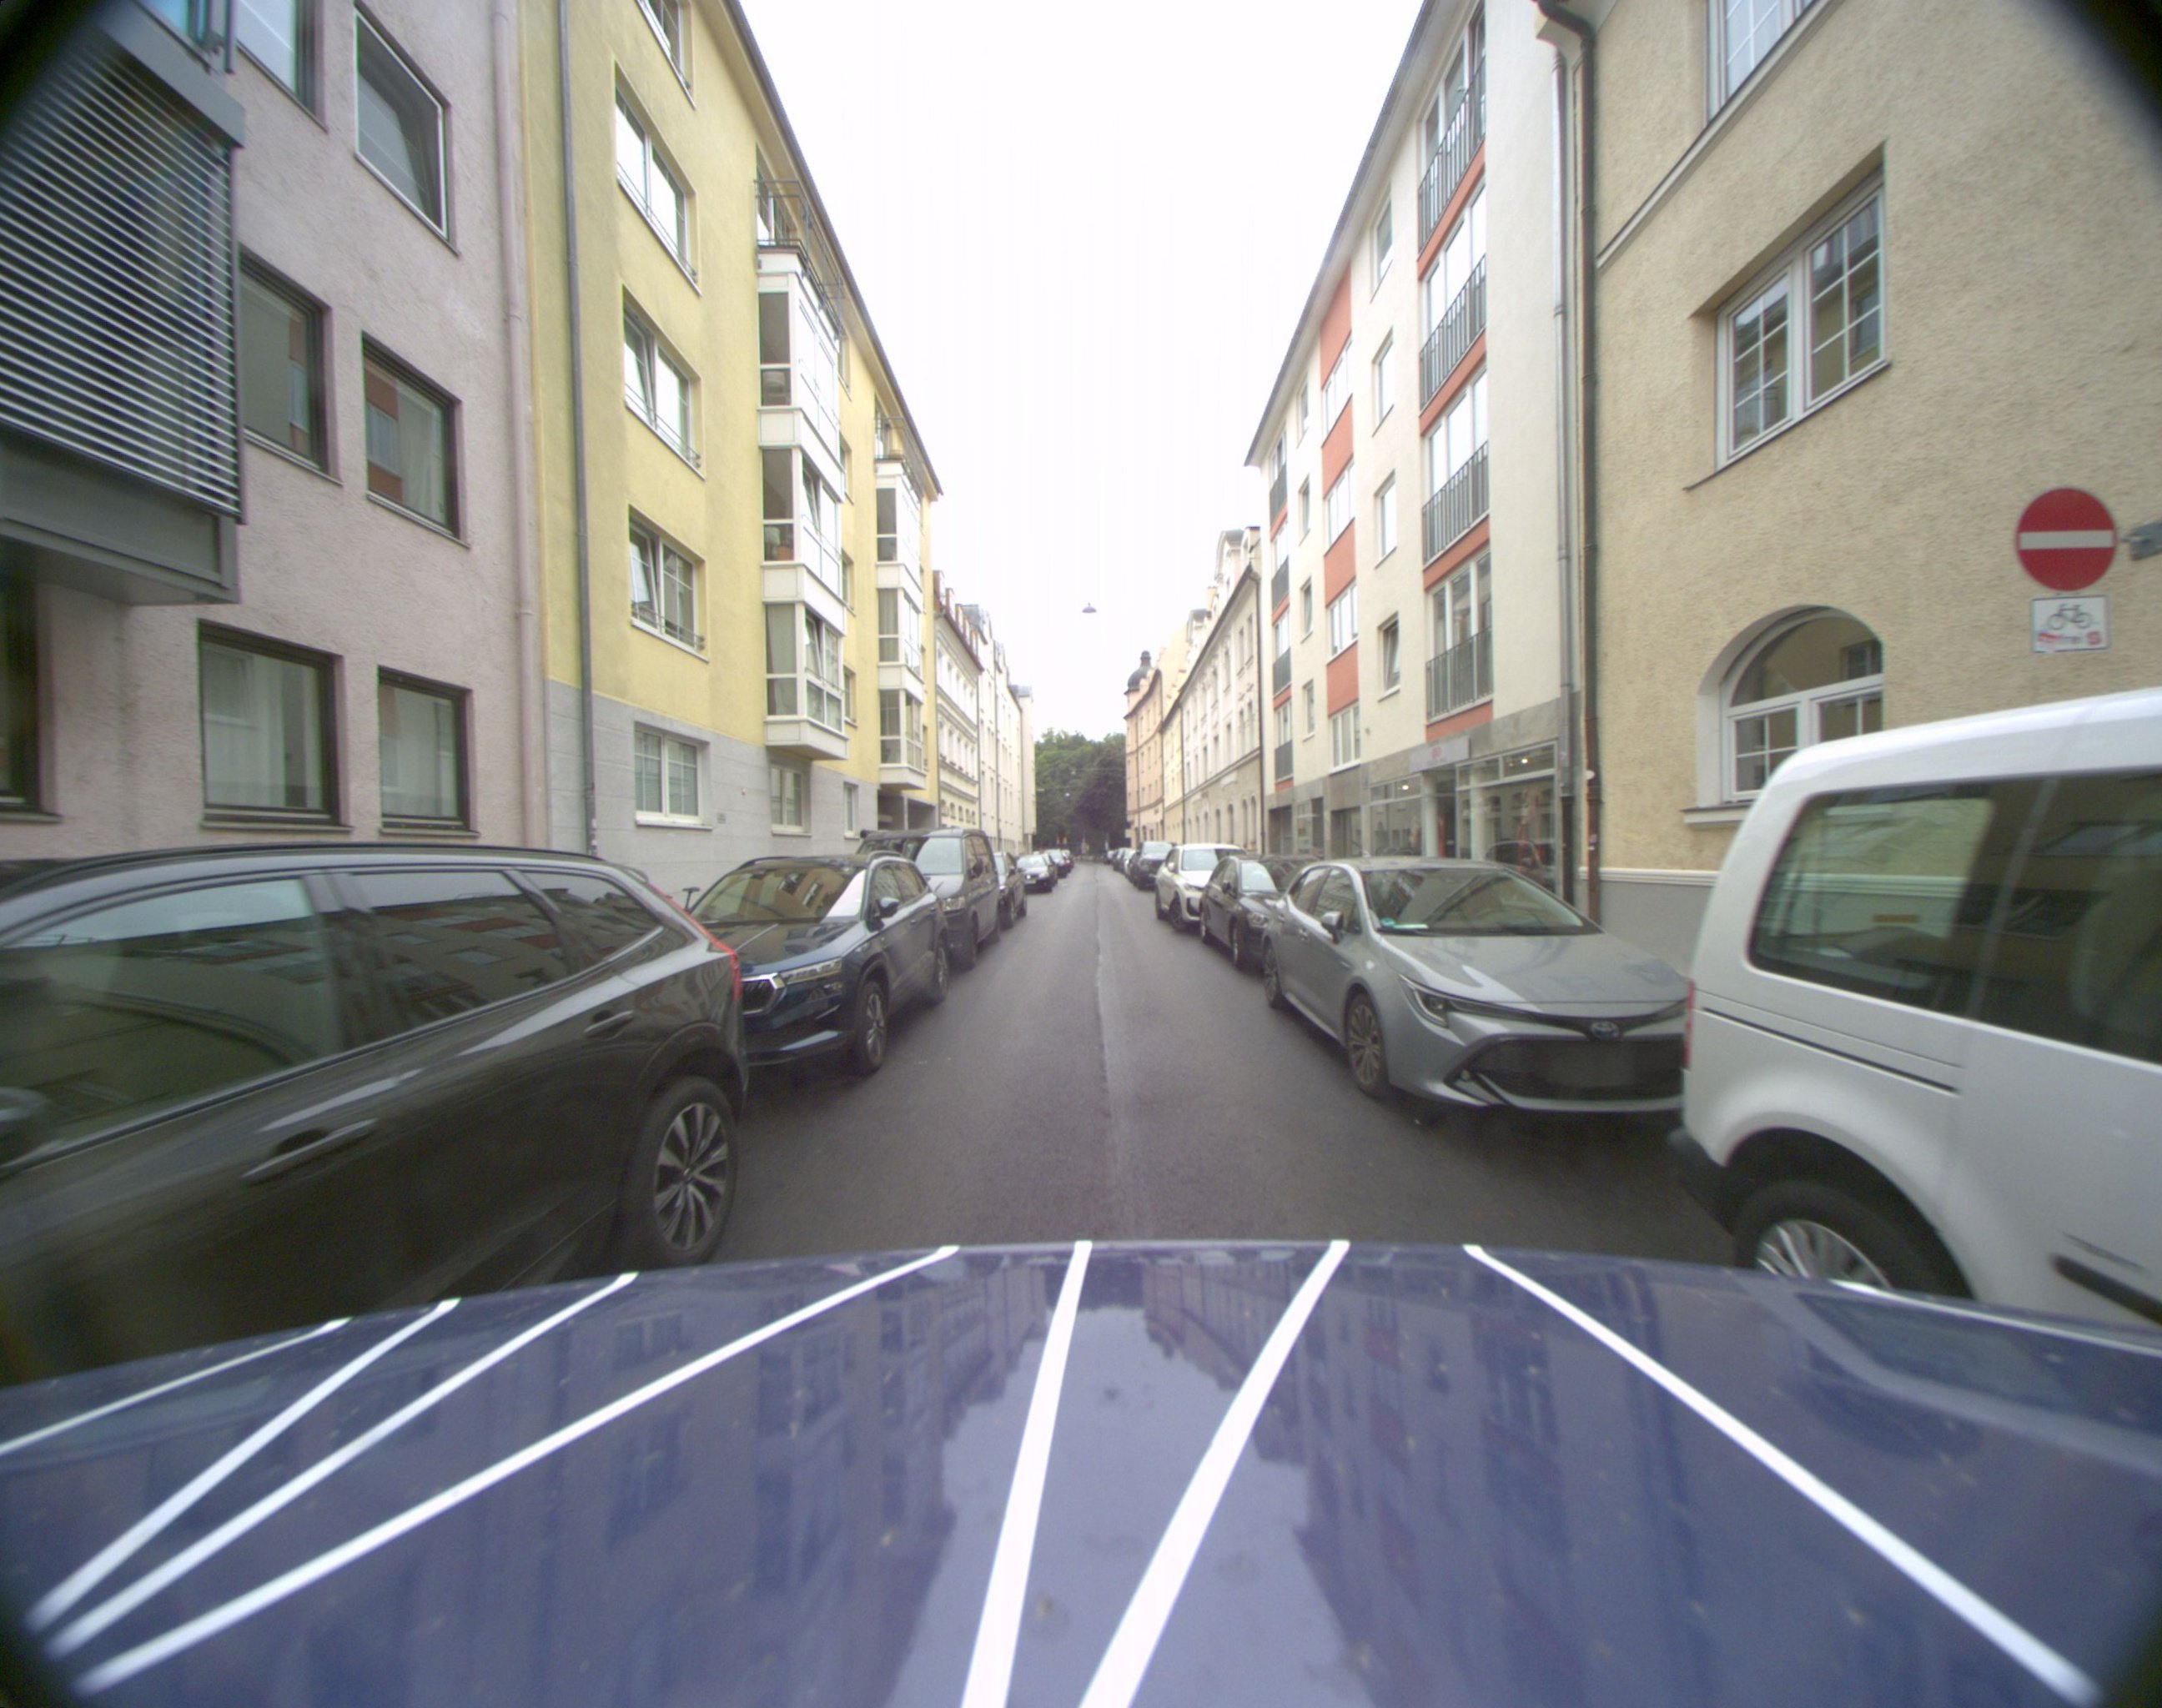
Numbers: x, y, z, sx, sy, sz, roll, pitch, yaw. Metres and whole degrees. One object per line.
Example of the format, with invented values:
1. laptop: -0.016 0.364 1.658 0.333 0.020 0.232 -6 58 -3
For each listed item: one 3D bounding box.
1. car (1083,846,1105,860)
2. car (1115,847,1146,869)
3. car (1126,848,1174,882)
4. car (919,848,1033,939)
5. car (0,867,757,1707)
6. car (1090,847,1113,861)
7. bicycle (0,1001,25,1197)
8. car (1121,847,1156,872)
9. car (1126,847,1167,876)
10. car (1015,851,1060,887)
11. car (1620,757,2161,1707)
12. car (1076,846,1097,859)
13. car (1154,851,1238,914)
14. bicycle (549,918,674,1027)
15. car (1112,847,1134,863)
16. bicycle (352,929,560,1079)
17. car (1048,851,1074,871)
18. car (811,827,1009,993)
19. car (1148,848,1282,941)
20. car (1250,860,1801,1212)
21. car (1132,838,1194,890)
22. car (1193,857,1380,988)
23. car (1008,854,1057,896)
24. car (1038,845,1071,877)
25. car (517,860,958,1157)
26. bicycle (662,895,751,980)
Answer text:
1. car: 1.458 -0.121 87.827 1.800 1.501 3.996 1 1 -10
2. car: 3.371 0.239 52.819 1.951 1.470 3.979 1 1 1
3. car: 3.191 0.468 35.652 1.951 1.470 3.715 1 1 1
4. car: -2.205 0.762 17.058 1.837 1.676 4.228 -2 1 1
5. car: -2.468 0.944 1.270 1.837 1.612 4.410 -2 1 1
6. car: 2.204 -0.036 83.628 1.800 1.501 3.996 1 1 -10
7. bicycle: -5.457 1.206 3.140 0.358 0.942 1.269 -1 1 2
8. car: 3.529 0.303 47.113 1.951 1.470 3.715 1 1 1
9. car: 3.555 0.389 41.904 1.951 1.470 3.715 1 1 1
10. car: -1.907 0.652 34.527 1.739 1.433 3.685 -2 1 0
11. car: 2.591 0.766 0.366 1.728 1.779 4.248 1 2 3
12. car: 0.643 -0.164 91.932 1.800 1.501 3.996 1 1 -10
13. car: 2.935 0.678 20.092 1.632 1.467 4.029 1 0 1
14. bicycle: -5.136 1.261 8.409 0.422 0.970 1.446 -1 1 2
15. car: 4.071 0.121 74.018 1.951 1.470 3.979 1 1 1
16. bicycle: -5.181 1.193 6.429 0.442 0.942 1.576 -1 1 -1
17. car: -1.413 0.456 54.657 1.739 1.297 3.685 -2 1 0
18. car: -2.380 0.645 12.080 1.877 2.002 5.105 -2 1 0
19. car: 2.525 0.694 15.398 1.786 1.596 4.307 1 0 -2
20. car: 2.495 0.859 5.568 1.676 1.467 4.111 1 2 2
21. car: 3.133 0.341 30.016 1.951 1.850 4.908 1 1 1
22. car: 2.675 0.807 10.783 1.632 1.467 3.841 1 0 1
23. car: -1.948 0.760 30.146 1.750 1.433 4.226 -3 1 -4
24. car: -1.553 0.374 45.064 1.739 1.743 3.685 -2 1 0
25. car: -2.400 0.944 6.713 1.837 1.612 4.323 -2 1 0
26. bicycle: -4.989 1.079 10.216 0.422 0.970 1.446 -1 1 2
